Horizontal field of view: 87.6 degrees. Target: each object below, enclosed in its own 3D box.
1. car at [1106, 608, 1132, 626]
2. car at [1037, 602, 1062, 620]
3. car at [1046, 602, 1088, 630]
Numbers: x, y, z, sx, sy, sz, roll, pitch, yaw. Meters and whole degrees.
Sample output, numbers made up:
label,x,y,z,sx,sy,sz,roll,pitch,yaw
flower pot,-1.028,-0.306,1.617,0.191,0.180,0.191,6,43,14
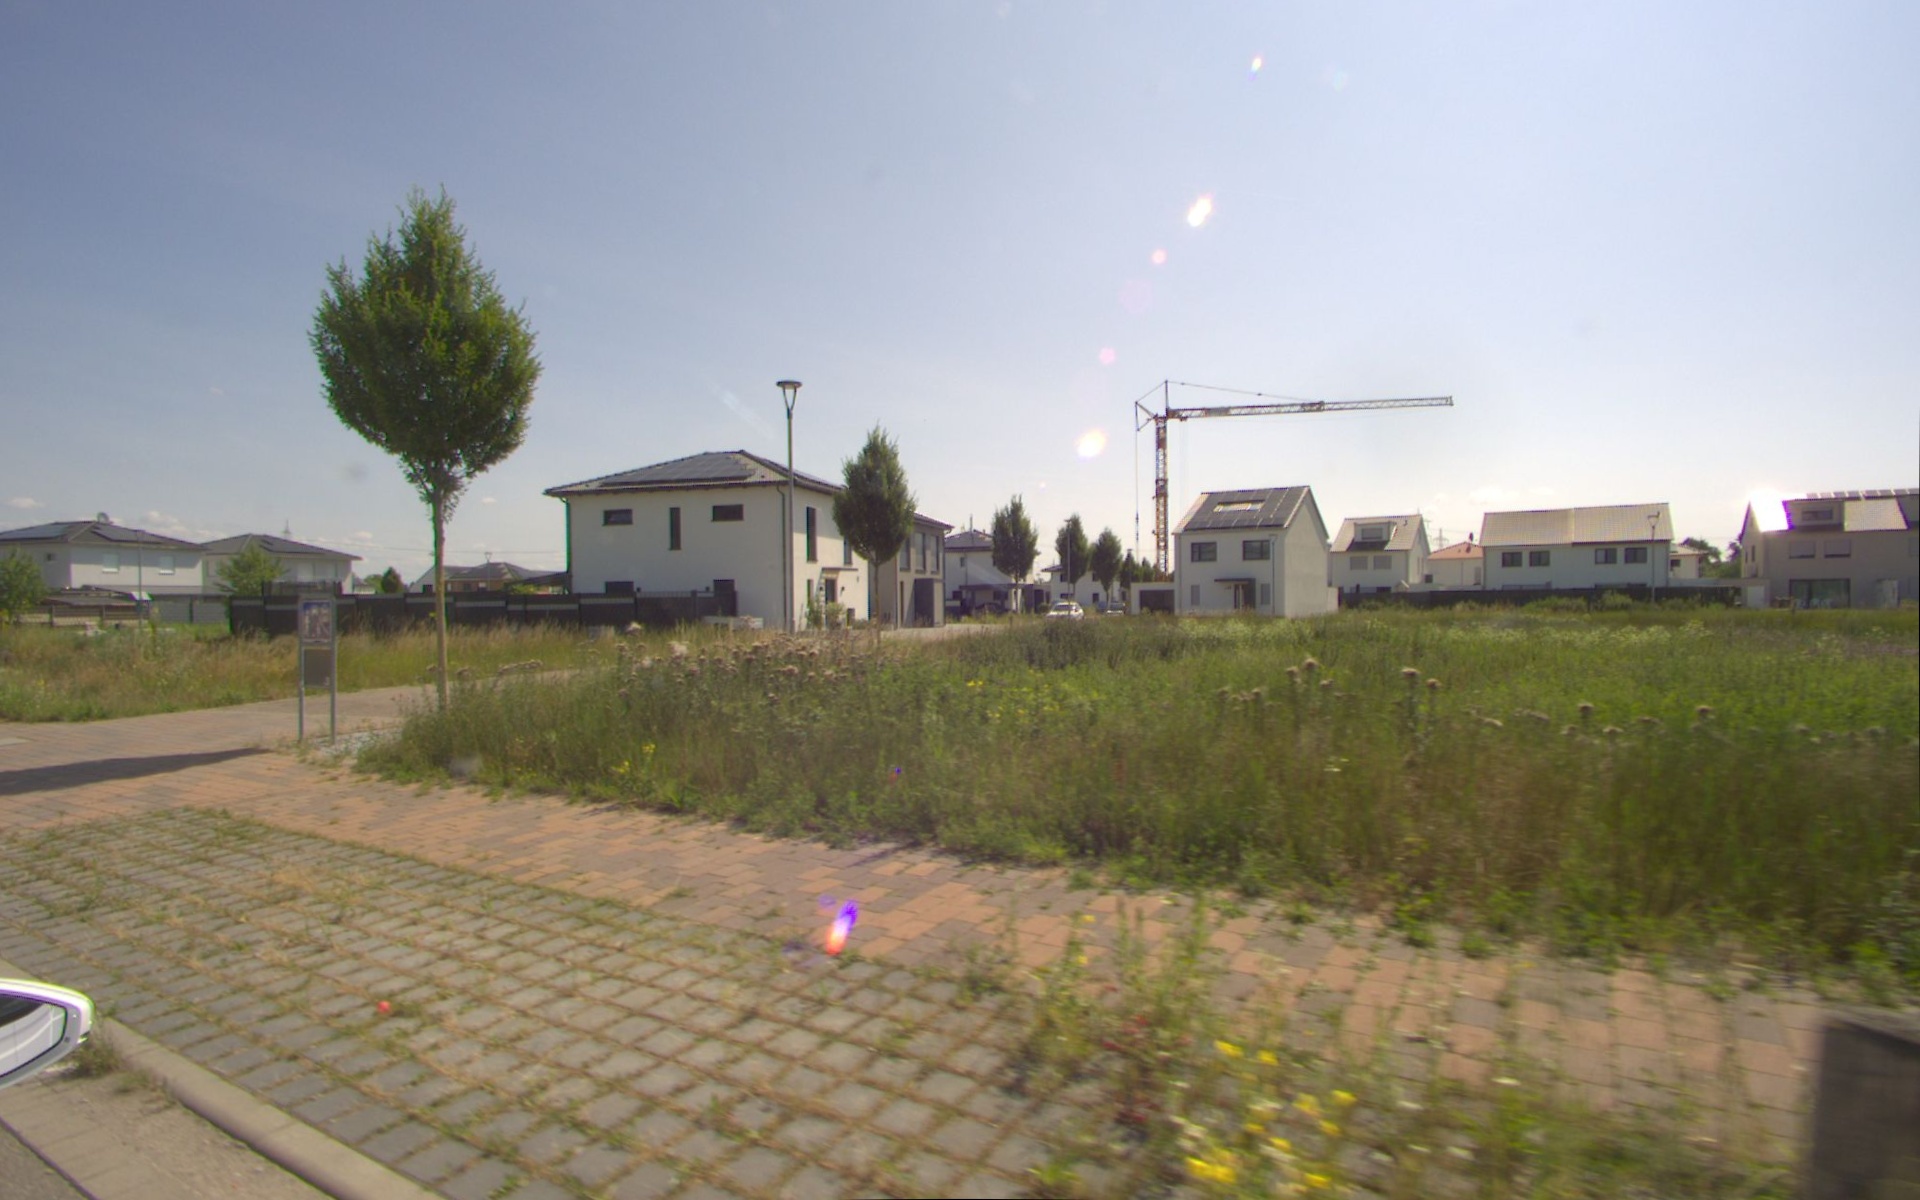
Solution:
label,x,y,z,sx,sy,sz,roll,pitch,yaw
car,12.957,1.355,81.553,1.710,1.461,3.826,0,0,15
car,7.688,0.926,85.801,1.564,1.510,3.368,0,0,14
car,5.878,0.845,54.714,1.710,1.461,3.826,0,0,15
